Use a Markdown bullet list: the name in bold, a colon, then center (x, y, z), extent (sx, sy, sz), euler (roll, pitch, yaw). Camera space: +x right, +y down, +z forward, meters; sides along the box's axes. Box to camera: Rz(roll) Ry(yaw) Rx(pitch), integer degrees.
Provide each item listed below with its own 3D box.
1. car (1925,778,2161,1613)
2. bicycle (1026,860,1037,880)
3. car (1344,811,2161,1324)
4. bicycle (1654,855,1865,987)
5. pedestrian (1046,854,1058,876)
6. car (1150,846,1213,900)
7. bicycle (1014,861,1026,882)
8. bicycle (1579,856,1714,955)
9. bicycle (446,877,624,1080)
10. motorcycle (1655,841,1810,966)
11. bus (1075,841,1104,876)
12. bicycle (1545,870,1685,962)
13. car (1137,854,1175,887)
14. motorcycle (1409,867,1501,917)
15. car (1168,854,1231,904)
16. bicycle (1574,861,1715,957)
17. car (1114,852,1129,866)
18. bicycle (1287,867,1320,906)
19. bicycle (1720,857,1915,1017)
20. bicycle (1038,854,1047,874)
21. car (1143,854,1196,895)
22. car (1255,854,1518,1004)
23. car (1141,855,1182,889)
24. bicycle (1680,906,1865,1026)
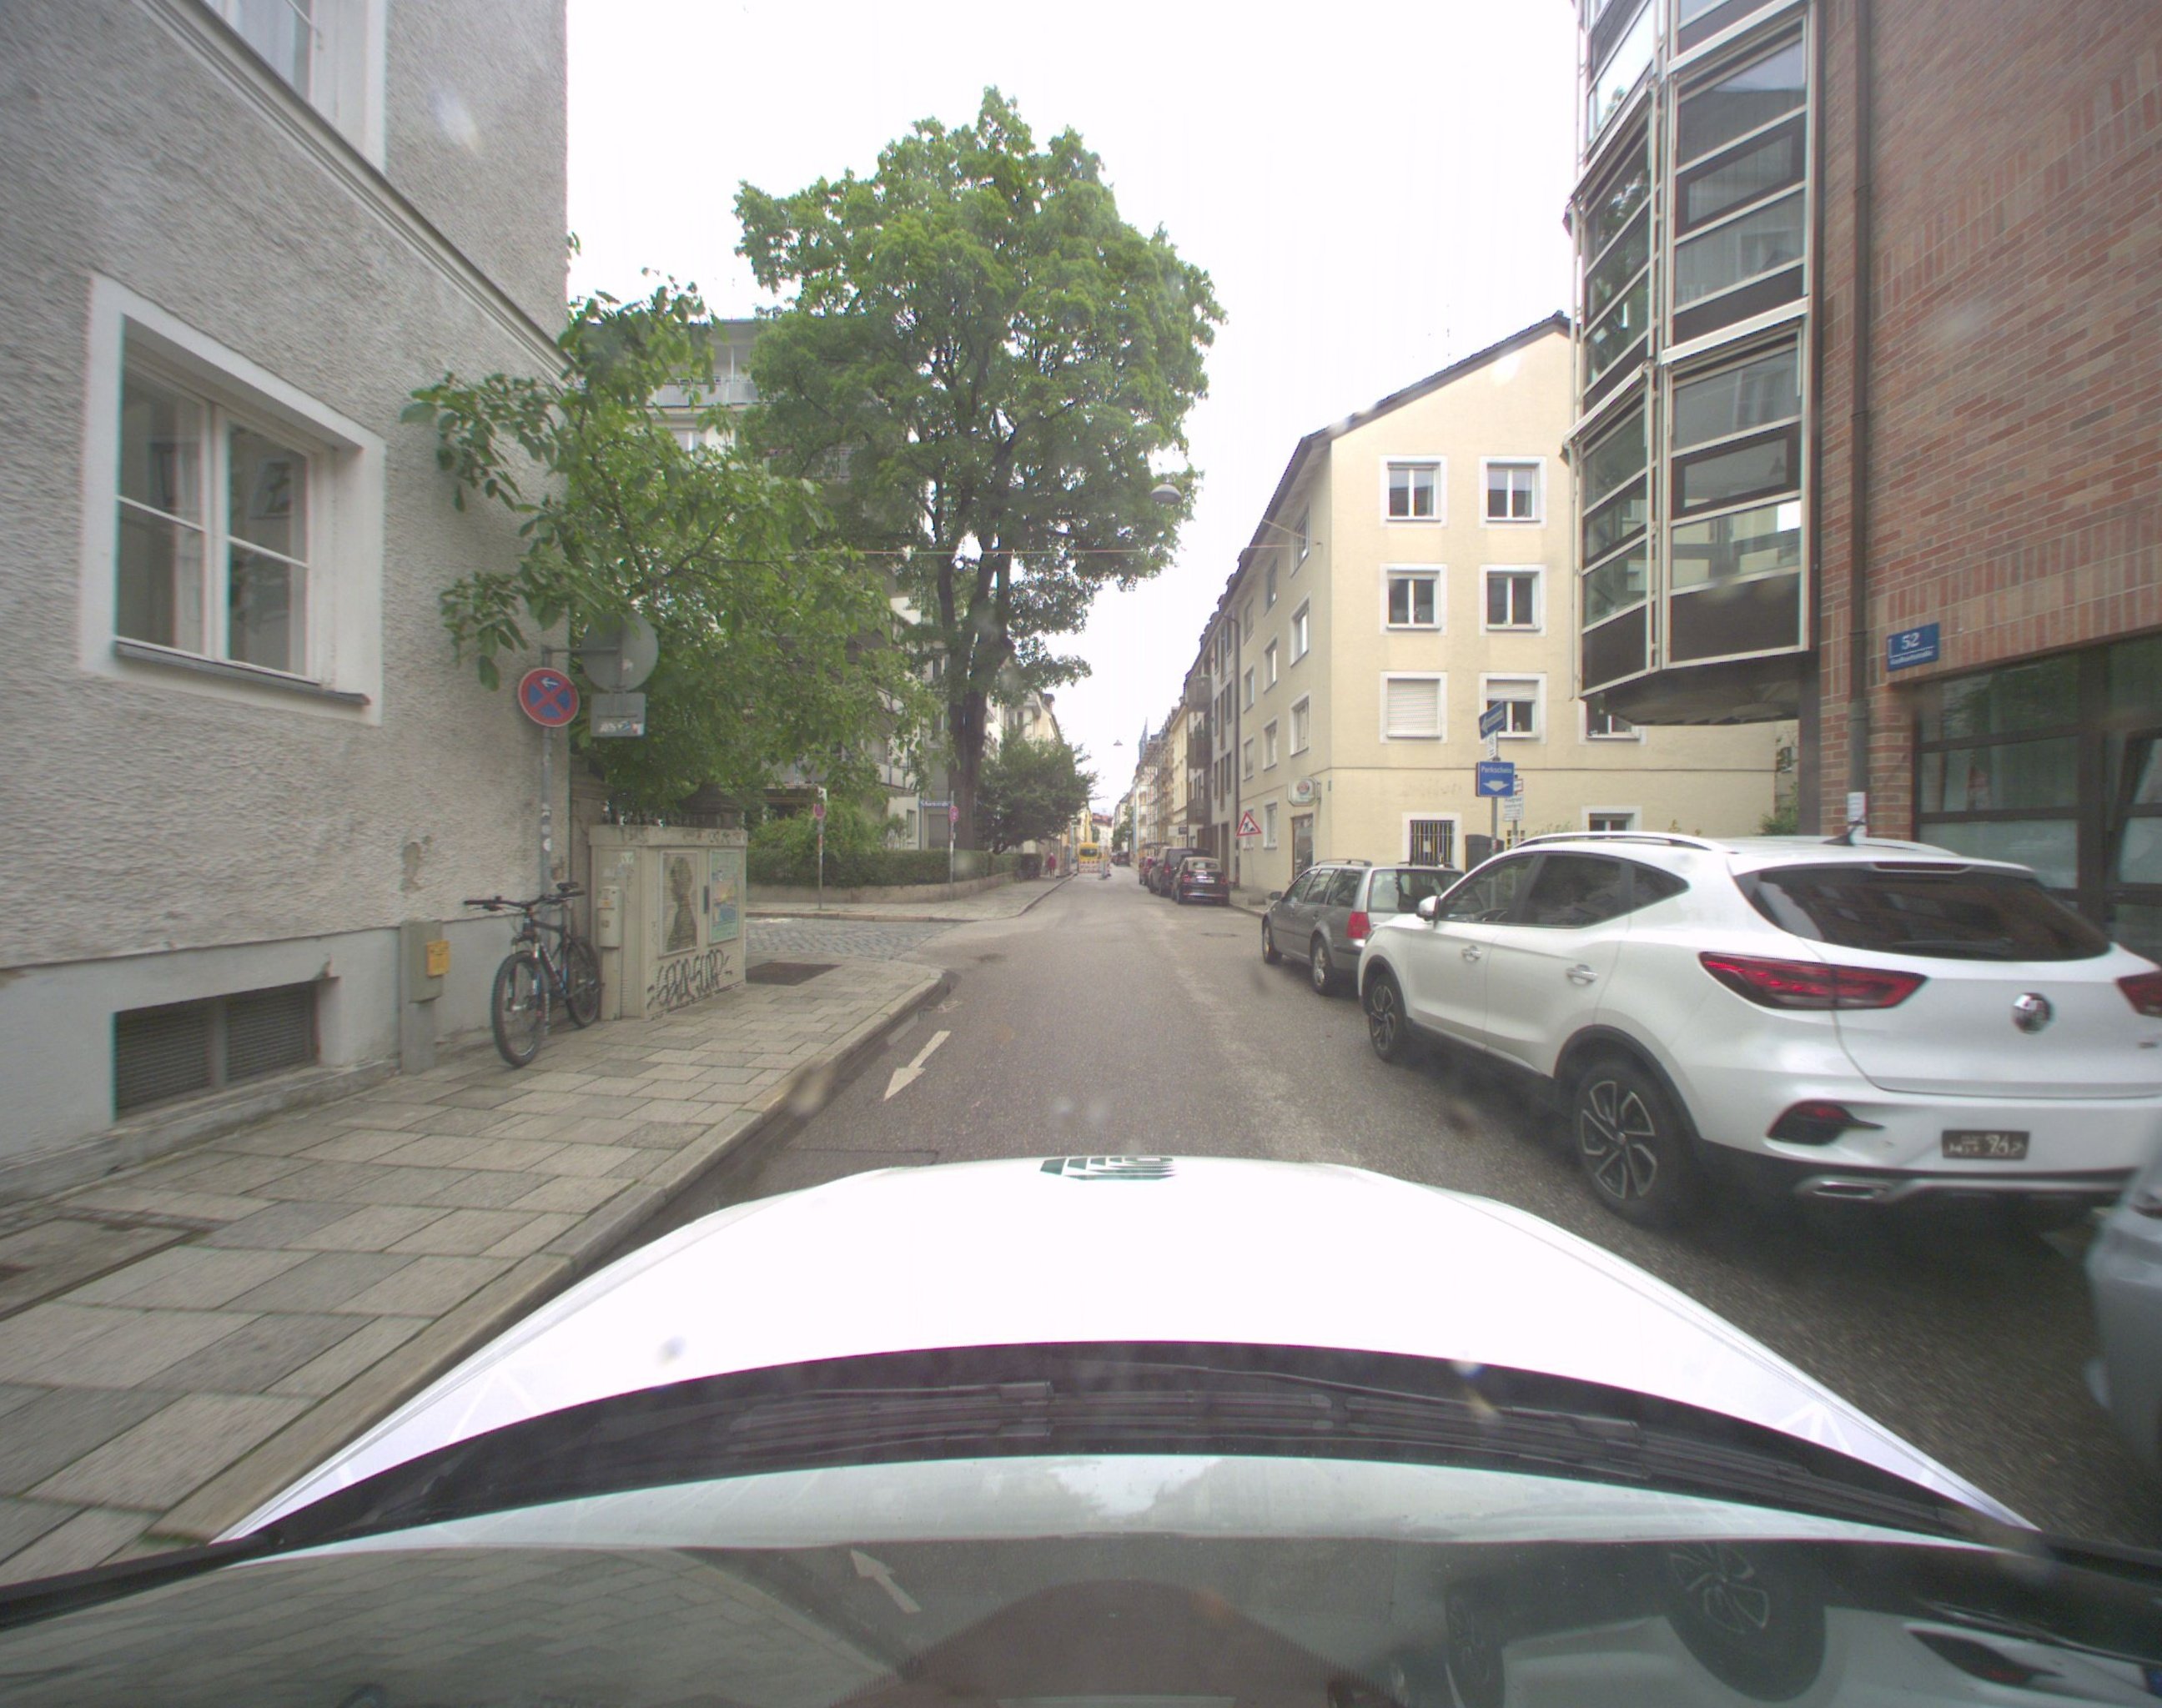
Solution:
- **car**: center (3.014, 0.649, 0.112), extent (1.716, 1.635, 3.878), euler (0, -1, -2)
- **bicycle**: center (-2.718, 0.864, 45.021), extent (0.444, 1.073, 2.467), euler (0, -1, 0)
- **car**: center (3.089, 0.677, 4.715), extent (1.743, 1.630, 4.195), euler (0, 0, -1)
- **bicycle**: center (6.973, 0.657, 8.457), extent (1.623, 1.276, 0.382), euler (-1, -1, 28)
- **pedestrian**: center (-1.933, 0.727, 54.807), extent (0.753, 1.491, 0.831), euler (0, -1, 1)
- **car**: center (3.767, 0.670, 31.154), extent (1.796, 1.820, 3.998), euler (4, 0, -1)
- **bicycle**: center (-2.937, 0.842, 39.485), extent (0.413, 1.020, 1.854), euler (0, -1, 1)
- **bicycle**: center (7.820, 0.668, 11.338), extent (0.380, 1.276, 1.539), euler (1, 0, -27)
- **bicycle**: center (-3.657, 0.747, 5.604), extent (0.474, 1.111, 1.750), euler (1, 0, -16)
- **motorcycle**: center (7.744, 0.576, 9.702), extent (1.467, 1.420, 0.472), euler (-1, -1, -3)
- **bus**: center (0.857, 0.441, 76.927), extent (2.583, 3.102, 6.308), euler (0, -1, 2)
- **bicycle**: center (6.976, 0.778, 10.720), extent (0.380, 1.080, 1.539), euler (2, 0, -27)
- **car**: center (3.907, 0.839, 43.038), extent (1.630, 1.515, 3.830), euler (4, 0, 1)
- **motorcycle**: center (8.909, 0.886, 19.478), extent (0.626, 1.108, 1.905), euler (1, 0, -41)
- **car**: center (3.822, 0.760, 26.791), extent (1.618, 1.487, 3.810), euler (1, 0, 2)
- **bicycle**: center (7.415, 0.687, 10.794), extent (0.380, 1.159, 1.539), euler (1, 0, -27)
- **car**: center (5.408, 0.618, 108.831), extent (1.795, 1.712, 3.826), euler (4, 0, 0)
- **bicycle**: center (6.166, 0.890, 22.602), extent (0.472, 1.026, 1.706), euler (-2, -1, 2)
- **bicycle**: center (6.525, 0.674, 7.321), extent (0.377, 1.276, 1.553), euler (0, -1, 2)
- **bicycle**: center (-2.749, 0.709, 57.832), extent (0.512, 1.418, 1.934), euler (0, -1, 1)
- **car**: center (3.749, 0.825, 35.250), extent (1.795, 1.568, 4.000), euler (4, 0, 0)
- **car**: center (3.415, 0.736, 9.959), extent (1.739, 1.445, 4.000), euler (1, 0, 0)
- **car**: center (3.822, 0.845, 39.263), extent (1.558, 1.434, 3.415), euler (4, 0, 0)
- **bicycle**: center (6.119, 0.947, 7.312), extent (0.383, 0.874, 1.542), euler (0, -1, 2)
